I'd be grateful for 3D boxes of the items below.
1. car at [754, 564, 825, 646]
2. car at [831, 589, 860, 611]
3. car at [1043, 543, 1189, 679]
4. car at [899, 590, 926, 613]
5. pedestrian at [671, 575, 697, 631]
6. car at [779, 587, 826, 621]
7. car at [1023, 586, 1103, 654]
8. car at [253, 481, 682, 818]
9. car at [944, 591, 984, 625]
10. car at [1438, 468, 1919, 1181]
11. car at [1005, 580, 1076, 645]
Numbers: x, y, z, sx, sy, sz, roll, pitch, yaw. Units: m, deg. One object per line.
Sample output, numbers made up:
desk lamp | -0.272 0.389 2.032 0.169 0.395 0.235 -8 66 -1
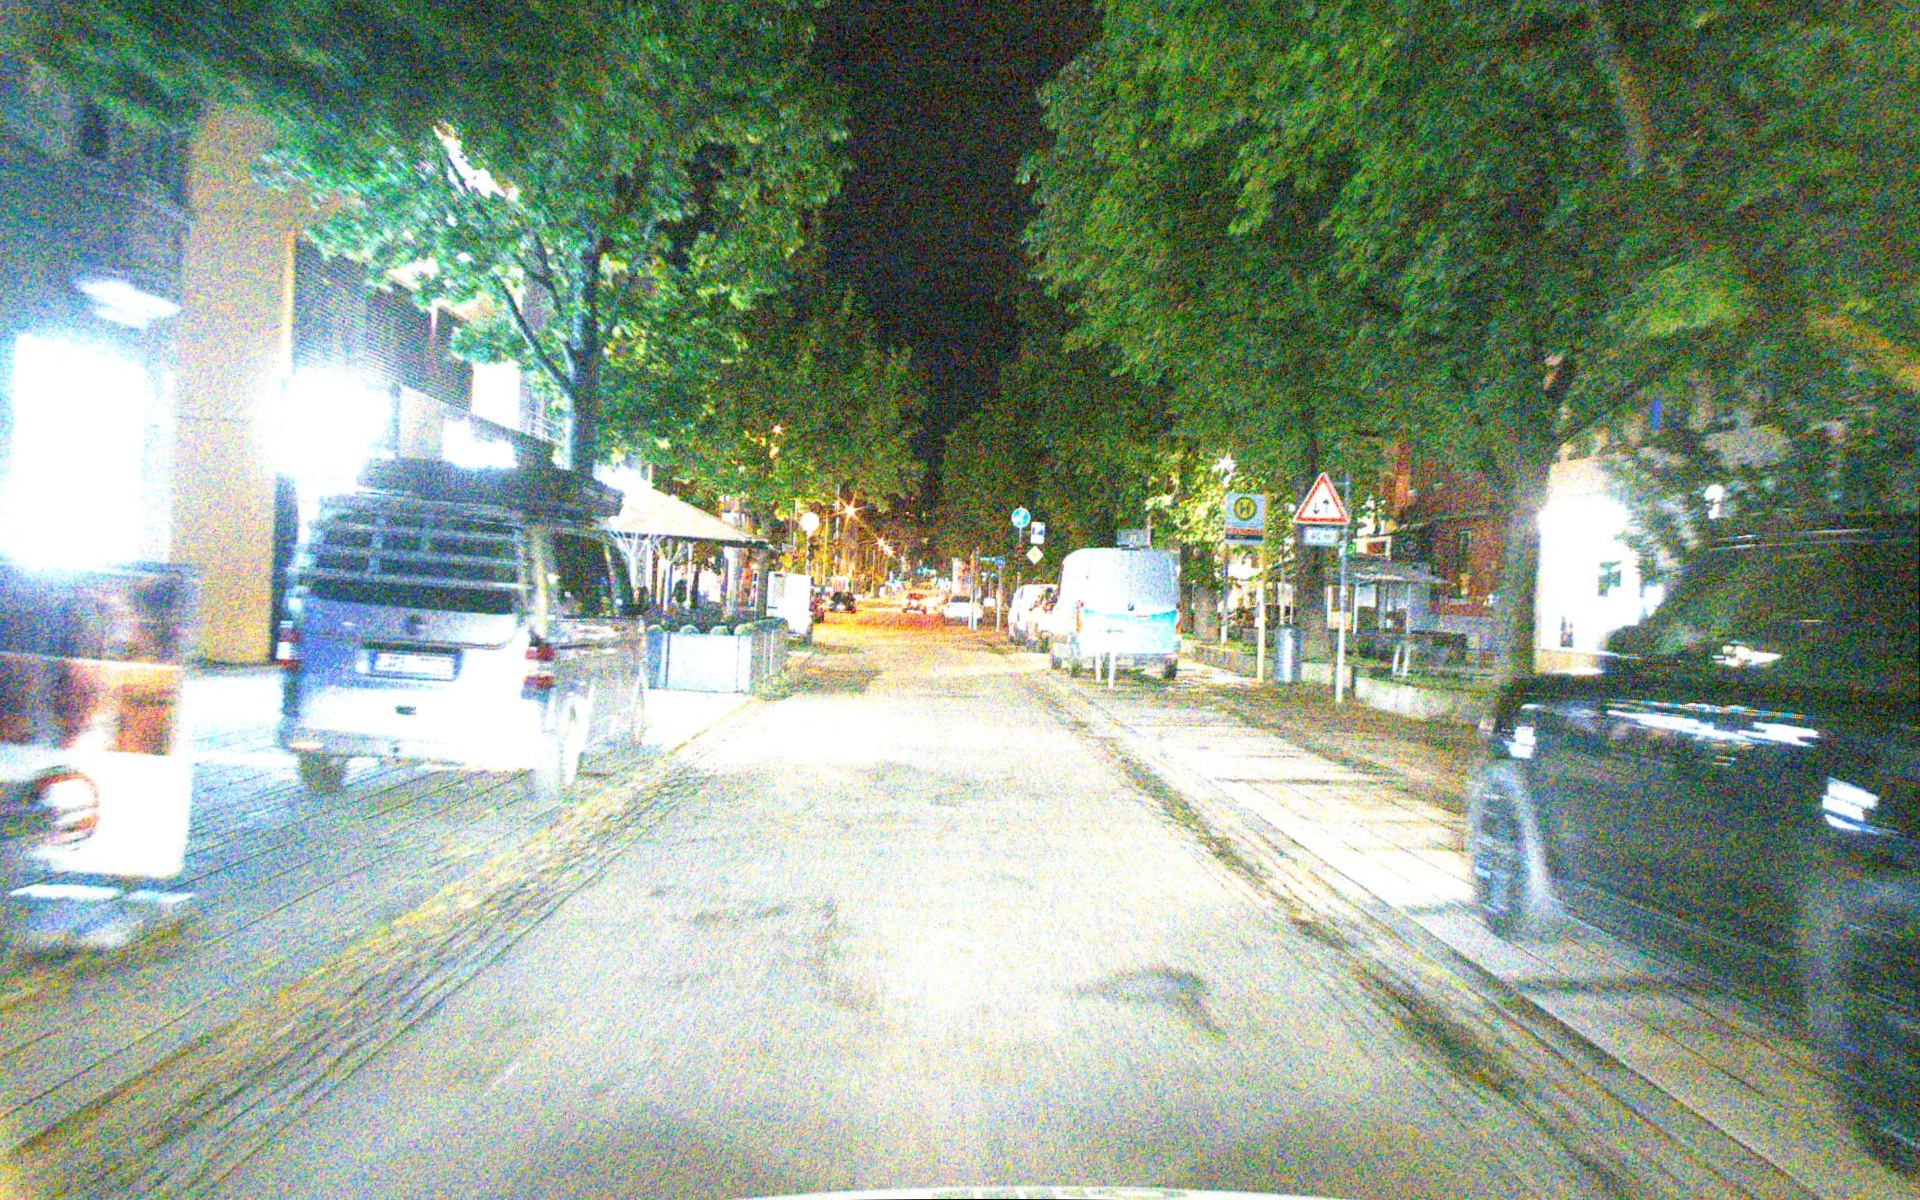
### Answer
car | -4.941 0.120 47.765 1.817 2.123 5.083 4 0 -6
car | -8.039 -0.008 116.424 1.706 1.438 4.495 3 0 -1
car | 2.896 0.183 31.878 2.091 2.367 5.149 2 0 -2
car | -3.562 0.111 124.780 1.953 1.672 3.999 1 0 -1
pedestrian | -8.799 0.082 52.814 0.655 1.749 0.908 1 0 -1
car | -7.466 0.183 78.782 1.770 1.449 4.920 4 0 -1
car | 2.721 0.507 44.579 1.650 1.688 4.294 2 0 -3
car | -3.511 0.303 12.912 1.886 1.999 5.075 3 0 -2
car | 0.179 0.350 78.085 1.781 1.526 3.999 2 0 -1
car | 3.363 0.583 5.631 1.869 1.834 4.935 1 0 -2
car | 2.403 0.341 50.590 1.753 1.854 4.578 2 0 -2
